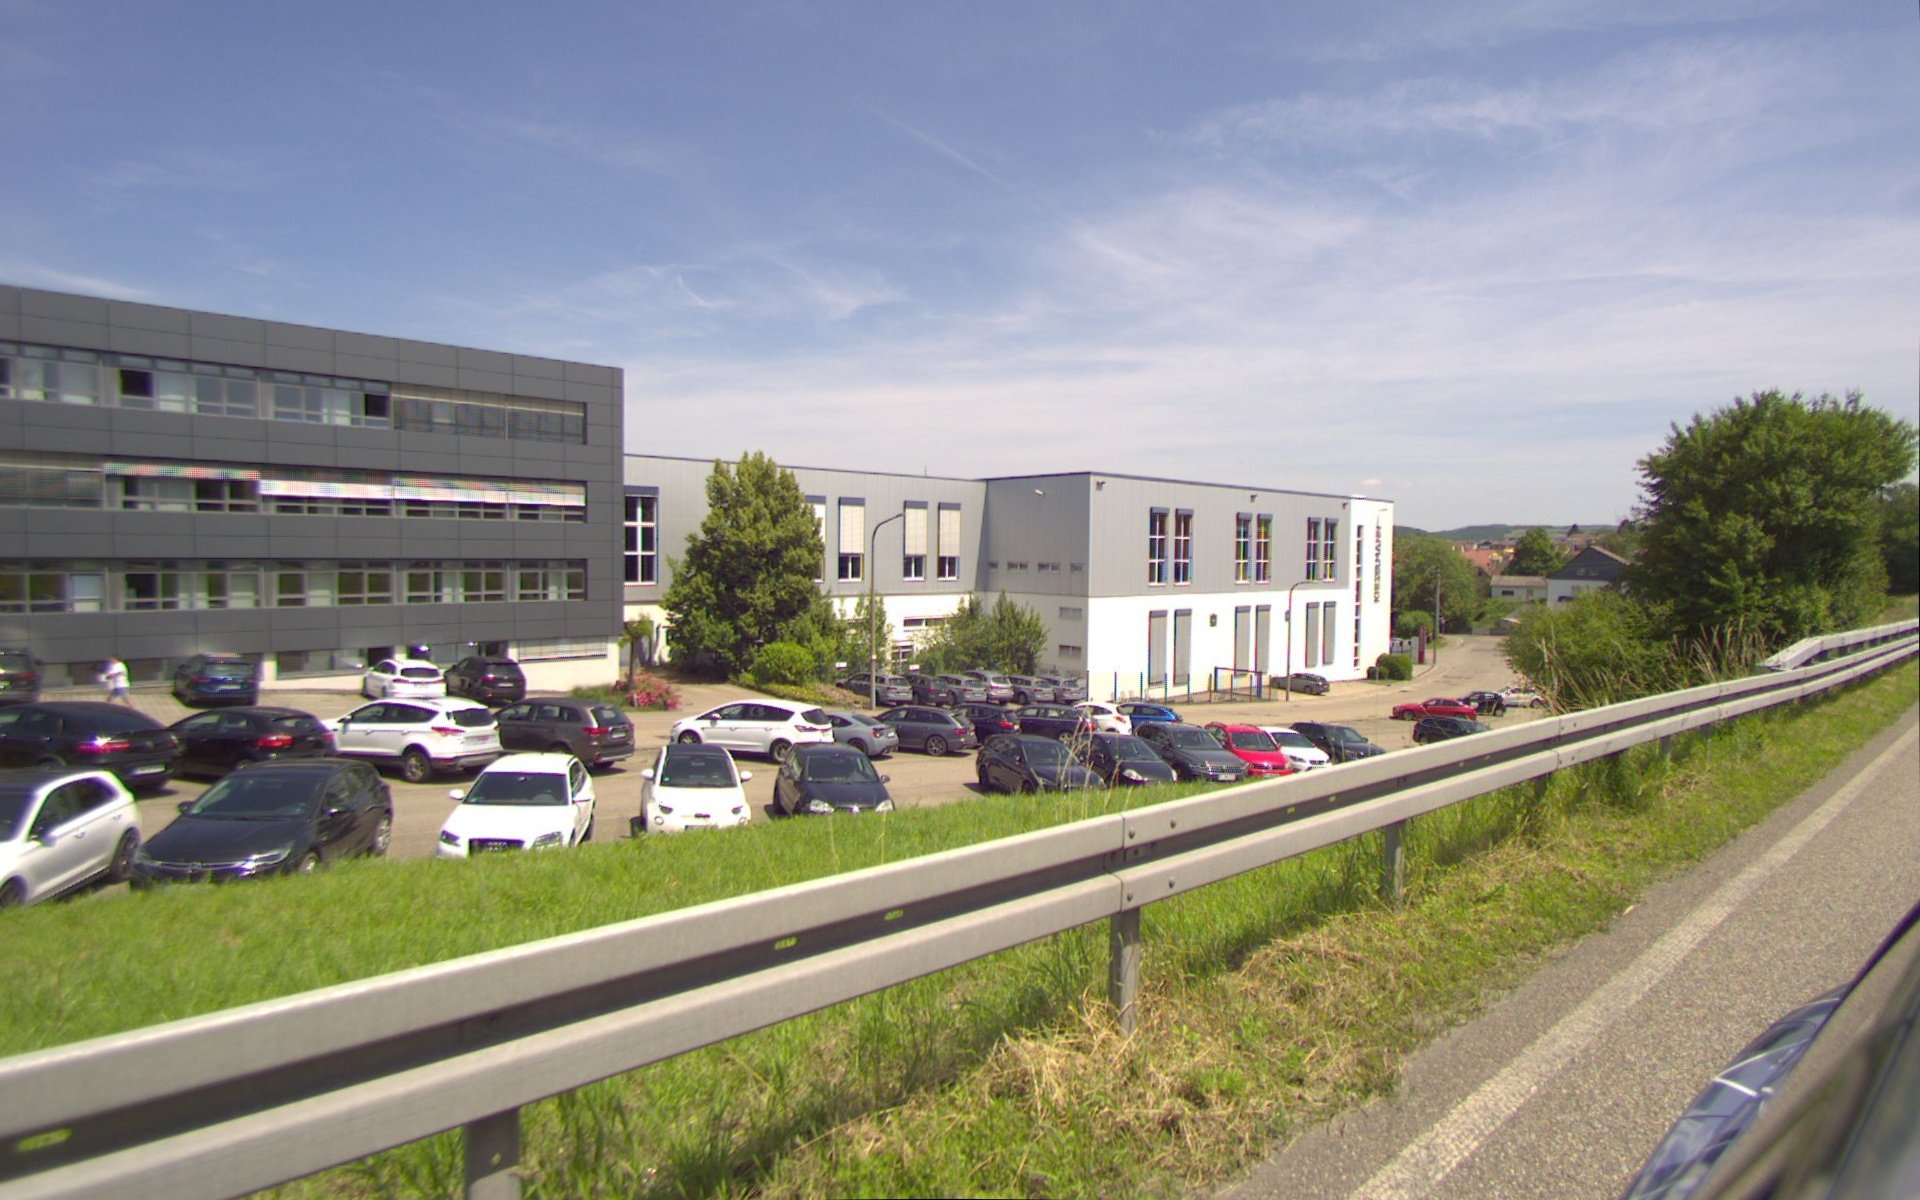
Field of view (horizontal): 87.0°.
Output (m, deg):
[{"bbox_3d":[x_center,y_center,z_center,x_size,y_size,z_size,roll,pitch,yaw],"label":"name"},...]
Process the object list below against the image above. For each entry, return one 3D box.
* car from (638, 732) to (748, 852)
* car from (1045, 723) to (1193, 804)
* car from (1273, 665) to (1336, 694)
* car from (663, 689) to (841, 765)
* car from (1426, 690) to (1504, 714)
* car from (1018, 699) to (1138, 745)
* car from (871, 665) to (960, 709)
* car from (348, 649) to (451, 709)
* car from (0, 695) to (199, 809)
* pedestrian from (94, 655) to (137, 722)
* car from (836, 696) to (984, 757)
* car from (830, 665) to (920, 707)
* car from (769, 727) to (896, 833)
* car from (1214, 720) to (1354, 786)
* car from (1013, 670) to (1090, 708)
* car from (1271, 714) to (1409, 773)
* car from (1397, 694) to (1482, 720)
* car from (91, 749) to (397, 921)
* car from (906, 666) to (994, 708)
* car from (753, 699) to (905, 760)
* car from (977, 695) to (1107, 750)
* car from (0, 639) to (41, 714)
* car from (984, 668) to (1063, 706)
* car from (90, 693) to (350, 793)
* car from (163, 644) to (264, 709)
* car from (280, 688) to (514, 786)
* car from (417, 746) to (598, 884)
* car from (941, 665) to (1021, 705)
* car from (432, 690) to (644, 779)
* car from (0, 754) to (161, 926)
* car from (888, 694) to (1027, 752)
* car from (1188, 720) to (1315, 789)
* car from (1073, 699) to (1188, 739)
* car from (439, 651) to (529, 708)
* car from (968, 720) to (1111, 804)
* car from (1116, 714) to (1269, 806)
[{"bbox_3d":[-4.745,3.217,17.660,1.643,1.538,4.132,1,-4,-17],"label":"car"},{"bbox_3d":[3.927,4.094,25.935,1.919,1.585,4.732,1,-4,-15],"label":"car"},{"bbox_3d":[26.513,6.080,77.935,1.880,1.591,4.045,4,3,-43],"label":"car"},{"bbox_3d":[-5.793,3.498,28.262,4.524,1.682,1.780,2,-3,17],"label":"car"},{"bbox_3d":[33.538,6.776,67.335,4.352,1.464,1.779,-2,-4,18],"label":"car"},{"bbox_3d":[4.550,4.670,39.000,4.352,1.626,1.779,-2,-4,18],"label":"car"},{"bbox_3d":[-2.242,4.247,50.078,1.790,1.592,4.578,3,1,-43],"label":"car"},{"bbox_3d":[-19.401,2.682,34.951,4.573,1.592,1.791,3,-1,44],"label":"car"},{"bbox_3d":[-16.404,2.647,18.197,4.519,1.533,1.812,2,-3,14],"label":"car"},{"bbox_3d":[-22.684,2.367,27.189,0.813,1.746,0.633,3,-6,-41],"label":"pedestrian"},{"bbox_3d":[-1.566,3.978,32.244,4.345,1.530,1.782,2,-3,14],"label":"car"},{"bbox_3d":[-4.141,4.068,48.592,1.790,1.592,4.576,3,-1,-43],"label":"car"},{"bbox_3d":[-2.582,3.353,19.558,1.675,1.510,4.383,1,-4,-17],"label":"car"},{"bbox_3d":[10.146,4.766,32.043,1.859,1.685,4.417,1,-4,-20],"label":"car"},{"bbox_3d":[5.108,4.968,57.004,1.880,1.592,4.043,3,1,-43],"label":"car"},{"bbox_3d":[12.436,4.665,33.425,1.752,1.563,4.417,1,-4,-20],"label":"car"},{"bbox_3d":[28.777,6.432,60.880,4.352,1.464,1.779,-2,-4,18],"label":"car"},{"bbox_3d":[-9.076,2.894,13.333,1.780,1.476,4.383,1,-4,-14],"label":"car"},{"bbox_3d":[-0.568,4.400,51.821,1.790,1.592,4.578,3,1,-43],"label":"car"},{"bbox_3d":[-3.894,3.839,30.325,4.102,1.396,1.780,2,-3,17],"label":"car"},{"bbox_3d":[2.959,4.369,36.375,4.353,1.561,1.779,2,-3,19],"label":"car"},{"bbox_3d":[-26.644,2.053,27.927,1.789,1.668,4.578,4,-1,-42],"label":"car"},{"bbox_3d":[3.425,4.721,55.265,1.880,1.592,4.043,3,1,-43],"label":"car"},{"bbox_3d":[-14.923,2.813,20.447,4.524,1.533,1.810,2,-3,17],"label":"car"},{"bbox_3d":[-23.466,2.339,31.739,4.574,1.592,1.791,3,-1,45],"label":"car"},{"bbox_3d":[-12.411,2.946,22.364,4.524,1.682,1.810,2,-3,17],"label":"car"},{"bbox_3d":[-6.718,3.123,15.500,1.780,1.413,4.383,1,-4,-14],"label":"car"},{"bbox_3d":[1.084,4.477,53.781,1.880,1.592,4.043,3,1,-43],"label":"car"},{"bbox_3d":[-10.101,3.162,24.307,4.524,1.682,1.780,2,-3,17],"label":"car"},{"bbox_3d":[-11.041,2.672,11.309,1.780,1.476,4.383,1,-4,-17],"label":"car"},{"bbox_3d":[-0.083,4.152,34.467,4.353,1.556,1.779,2,-3,19],"label":"car"},{"bbox_3d":[8.341,4.410,29.436,1.945,1.580,4.413,0,-4,-7],"label":"car"},{"bbox_3d":[6.849,4.753,40.613,4.352,1.464,1.779,-2,-4,18],"label":"car"},{"bbox_3d":[-17.437,2.857,36.978,1.788,1.592,4.581,4,-1,-40],"label":"car"},{"bbox_3d":[1.741,3.740,24.026,1.874,1.508,4.732,1,-4,-15],"label":"car"},{"bbox_3d":[6.223,4.261,27.743,2.035,2.040,4.732,1,-4,-15],"label":"car"}]
